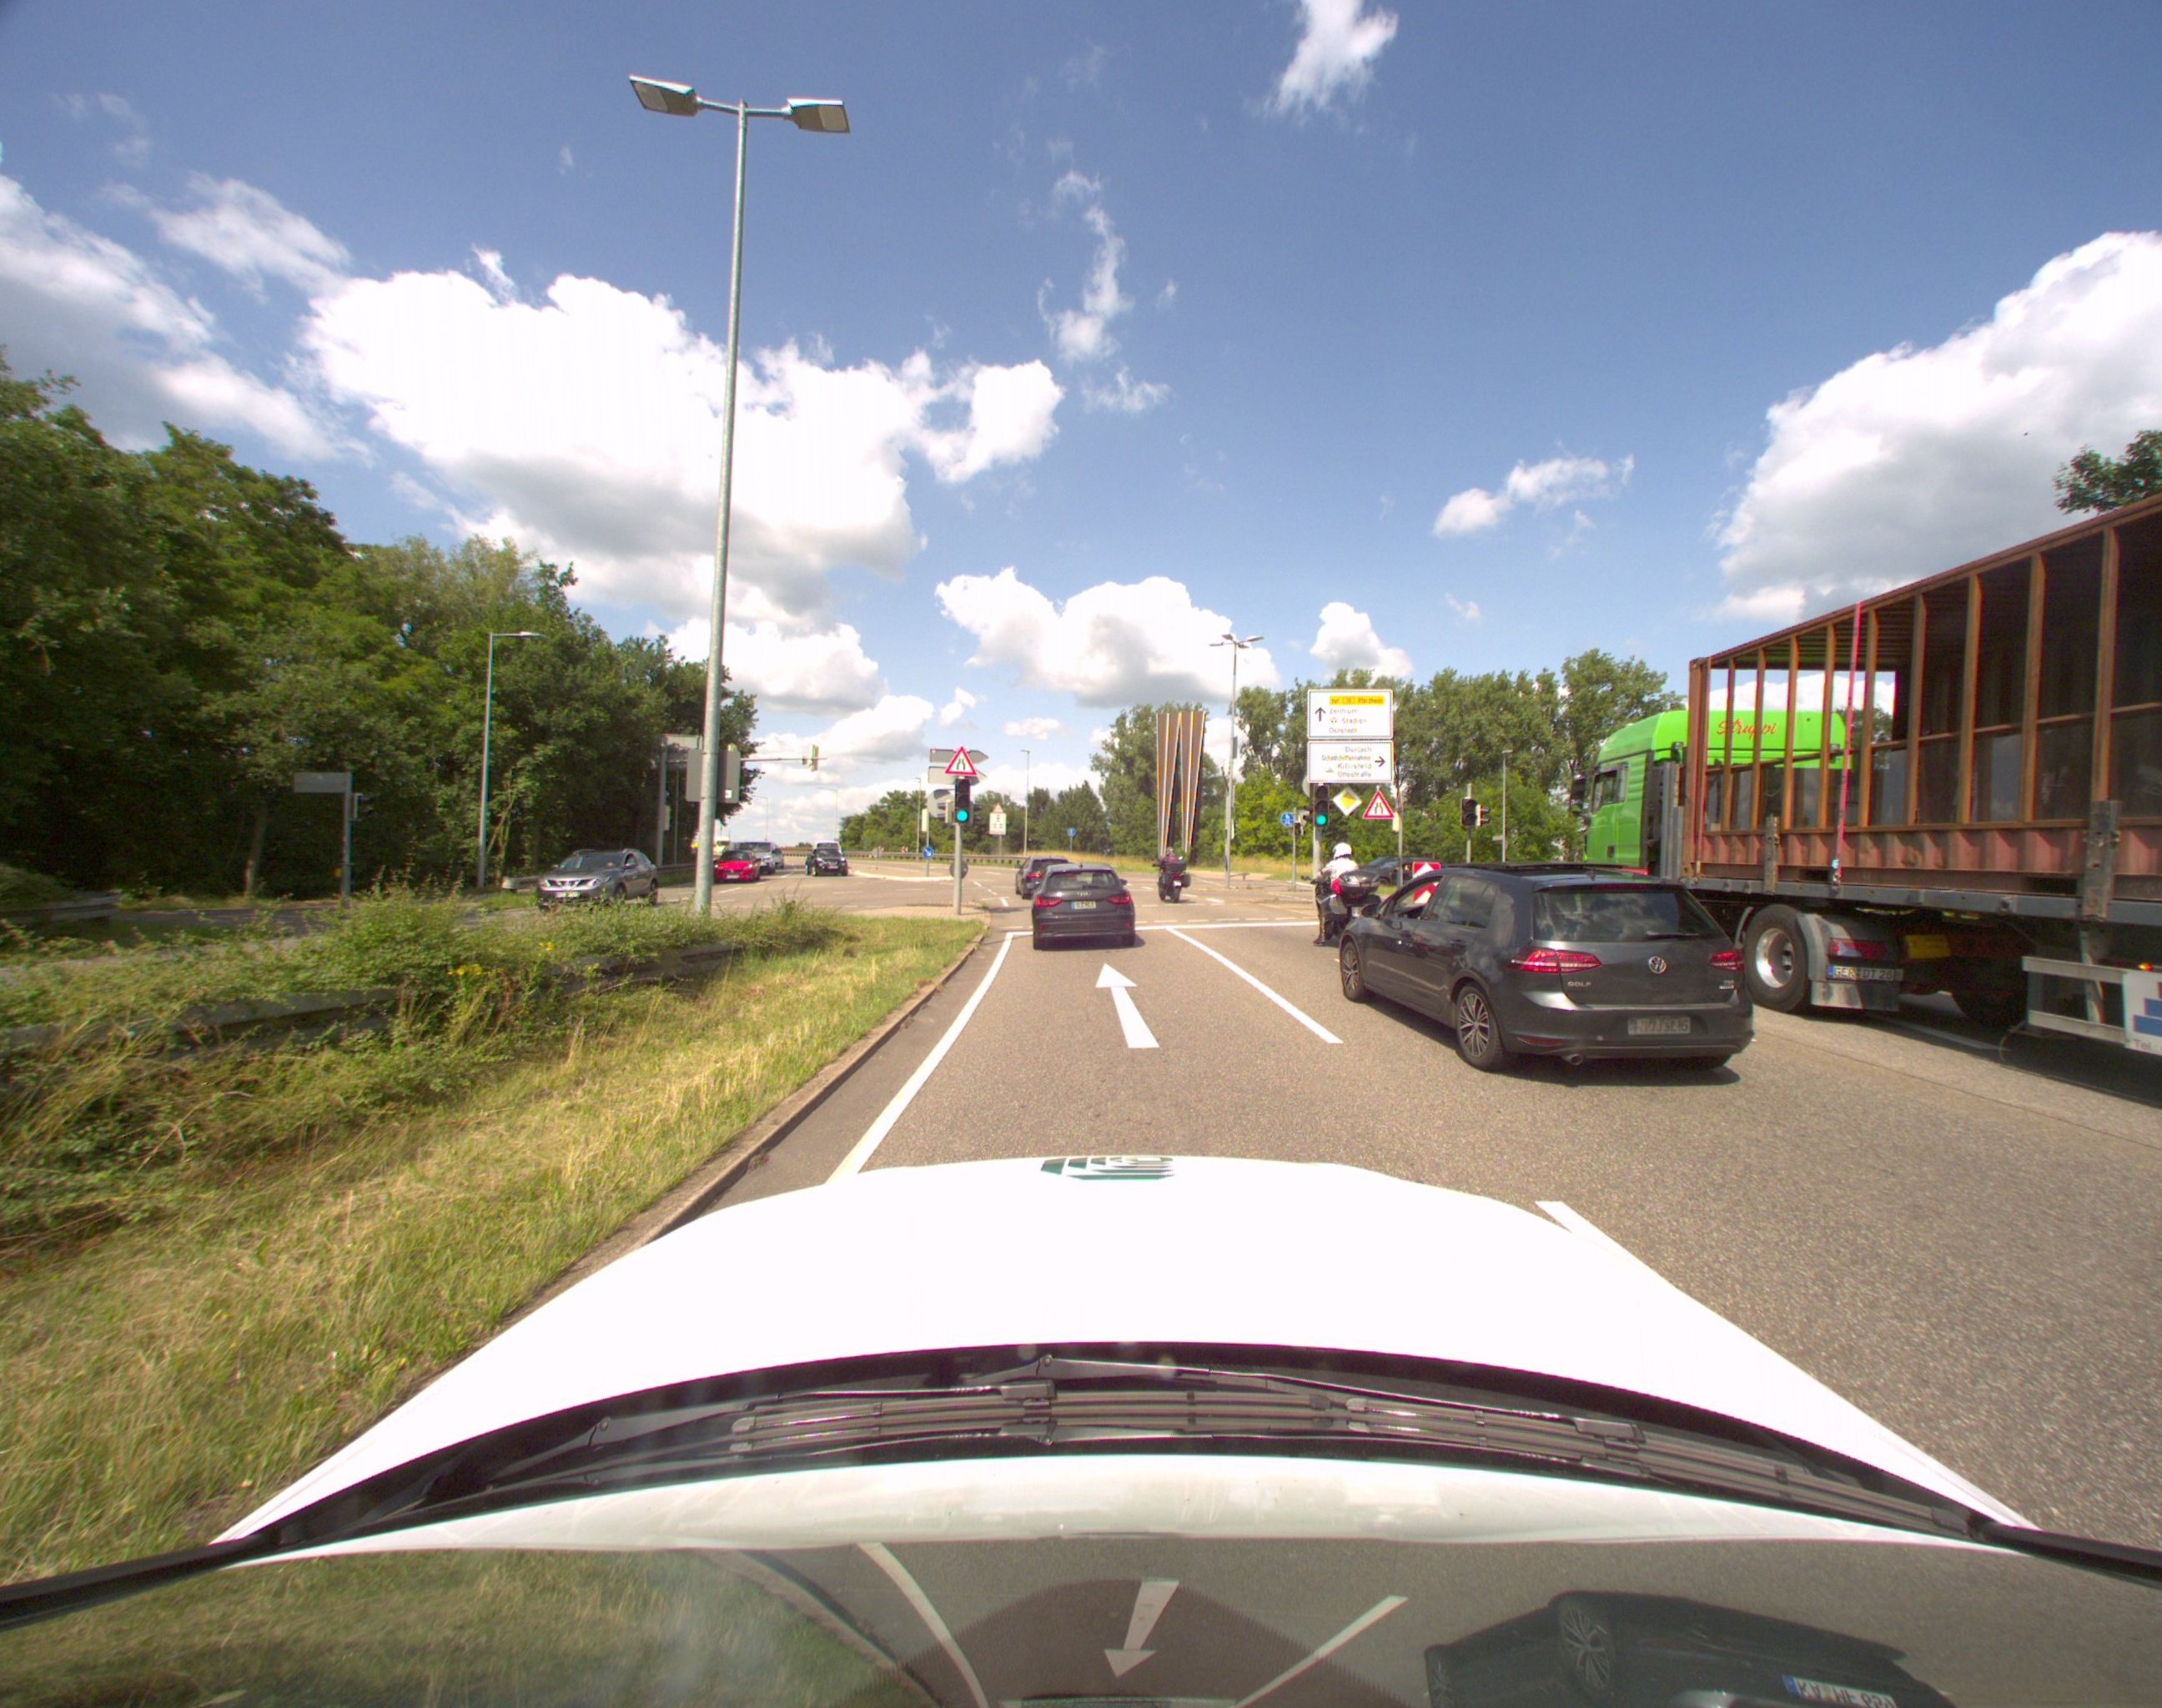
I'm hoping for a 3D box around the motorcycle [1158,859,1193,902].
[{"bbox_3d":[2.888,0.788,25.036,0.884,1.247,2.400,1,0,2],"label":"motorcycle"}]

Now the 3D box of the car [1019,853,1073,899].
[{"bbox_3d":[-1.156,0.698,28.005,1.637,1.479,3.872,0,0,1],"label":"car"}]

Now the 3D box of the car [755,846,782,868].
[{"bbox_3d":[-22.799,0.192,59.388,1.739,1.521,4.039,-1,1,-21],"label":"car"}]

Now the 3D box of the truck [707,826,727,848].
[{"bbox_3d":[-45.605,-2.172,102.078,2.001,2.620,6.060,-2,2,-21],"label":"truck"}]

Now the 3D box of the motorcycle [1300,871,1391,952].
[{"bbox_3d":[4.241,0.882,13.256,0.786,1.132,2.400,1,0,2],"label":"motorcycle"}]

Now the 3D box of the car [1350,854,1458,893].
[{"bbox_3d":[14.863,0.876,37.641,4.267,1.617,1.844,2,-1,-1],"label":"car"}]

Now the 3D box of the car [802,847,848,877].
[{"bbox_3d":[-14.104,0.400,44.753,1.708,1.557,3.786,0,1,-29],"label":"car"}]

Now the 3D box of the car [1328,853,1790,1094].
[{"bbox_3d":[3.562,0.740,6.987,1.638,1.479,3.870,0,0,-1],"label":"car"}]

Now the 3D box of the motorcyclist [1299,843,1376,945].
[{"bbox_3d":[4.234,0.639,13.522,0.962,1.620,1.125,1,0,2],"label":"motorcyclist"}]

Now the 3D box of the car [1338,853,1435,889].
[{"bbox_3d":[15.358,0.825,41.112,4.189,1.645,1.837,2,1,-1],"label":"car"}]

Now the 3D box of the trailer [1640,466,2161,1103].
[{"bbox_3d":[7.699,-0.398,3.394,2.625,3.891,13.873,3,0,7],"label":"trailer"}]

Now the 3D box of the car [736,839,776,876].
[{"bbox_3d":[-19.021,0.219,47.635,2.002,2.013,5.097,-2,0,-22],"label":"car"}]

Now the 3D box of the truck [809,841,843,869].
[{"bbox_3d":[-18.204,0.014,58.072,1.968,1.913,5.332,0,1,-21],"label":"truck"}]

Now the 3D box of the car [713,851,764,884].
[{"bbox_3d":[-15.770,0.577,37.658,1.584,1.432,3.980,-1,0,-15],"label":"car"}]

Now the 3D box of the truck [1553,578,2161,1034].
[{"bbox_3d":[8.608,-0.444,10.066,2.851,3.903,5.894,3,0,10],"label":"truck"}]

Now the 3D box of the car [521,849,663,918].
[{"bbox_3d":[-12.642,0.704,21.390,1.710,1.586,4.268,-1,0,-9],"label":"car"}]

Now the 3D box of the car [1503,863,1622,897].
[{"bbox_3d":[22.108,1.182,37.494,4.514,1.375,1.646,2,1,-1],"label":"car"}]

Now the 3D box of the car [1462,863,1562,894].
[{"bbox_3d":[21.853,1.224,41.405,4.189,1.375,1.646,2,1,-1],"label":"car"}]

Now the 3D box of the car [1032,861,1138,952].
[{"bbox_3d":[0.139,0.855,14.833,1.675,1.388,3.741,-1,0,2],"label":"car"}]

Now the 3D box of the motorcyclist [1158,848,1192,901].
[{"bbox_3d":[2.881,0.624,25.053,0.962,1.596,1.125,1,0,2],"label":"motorcyclist"}]
